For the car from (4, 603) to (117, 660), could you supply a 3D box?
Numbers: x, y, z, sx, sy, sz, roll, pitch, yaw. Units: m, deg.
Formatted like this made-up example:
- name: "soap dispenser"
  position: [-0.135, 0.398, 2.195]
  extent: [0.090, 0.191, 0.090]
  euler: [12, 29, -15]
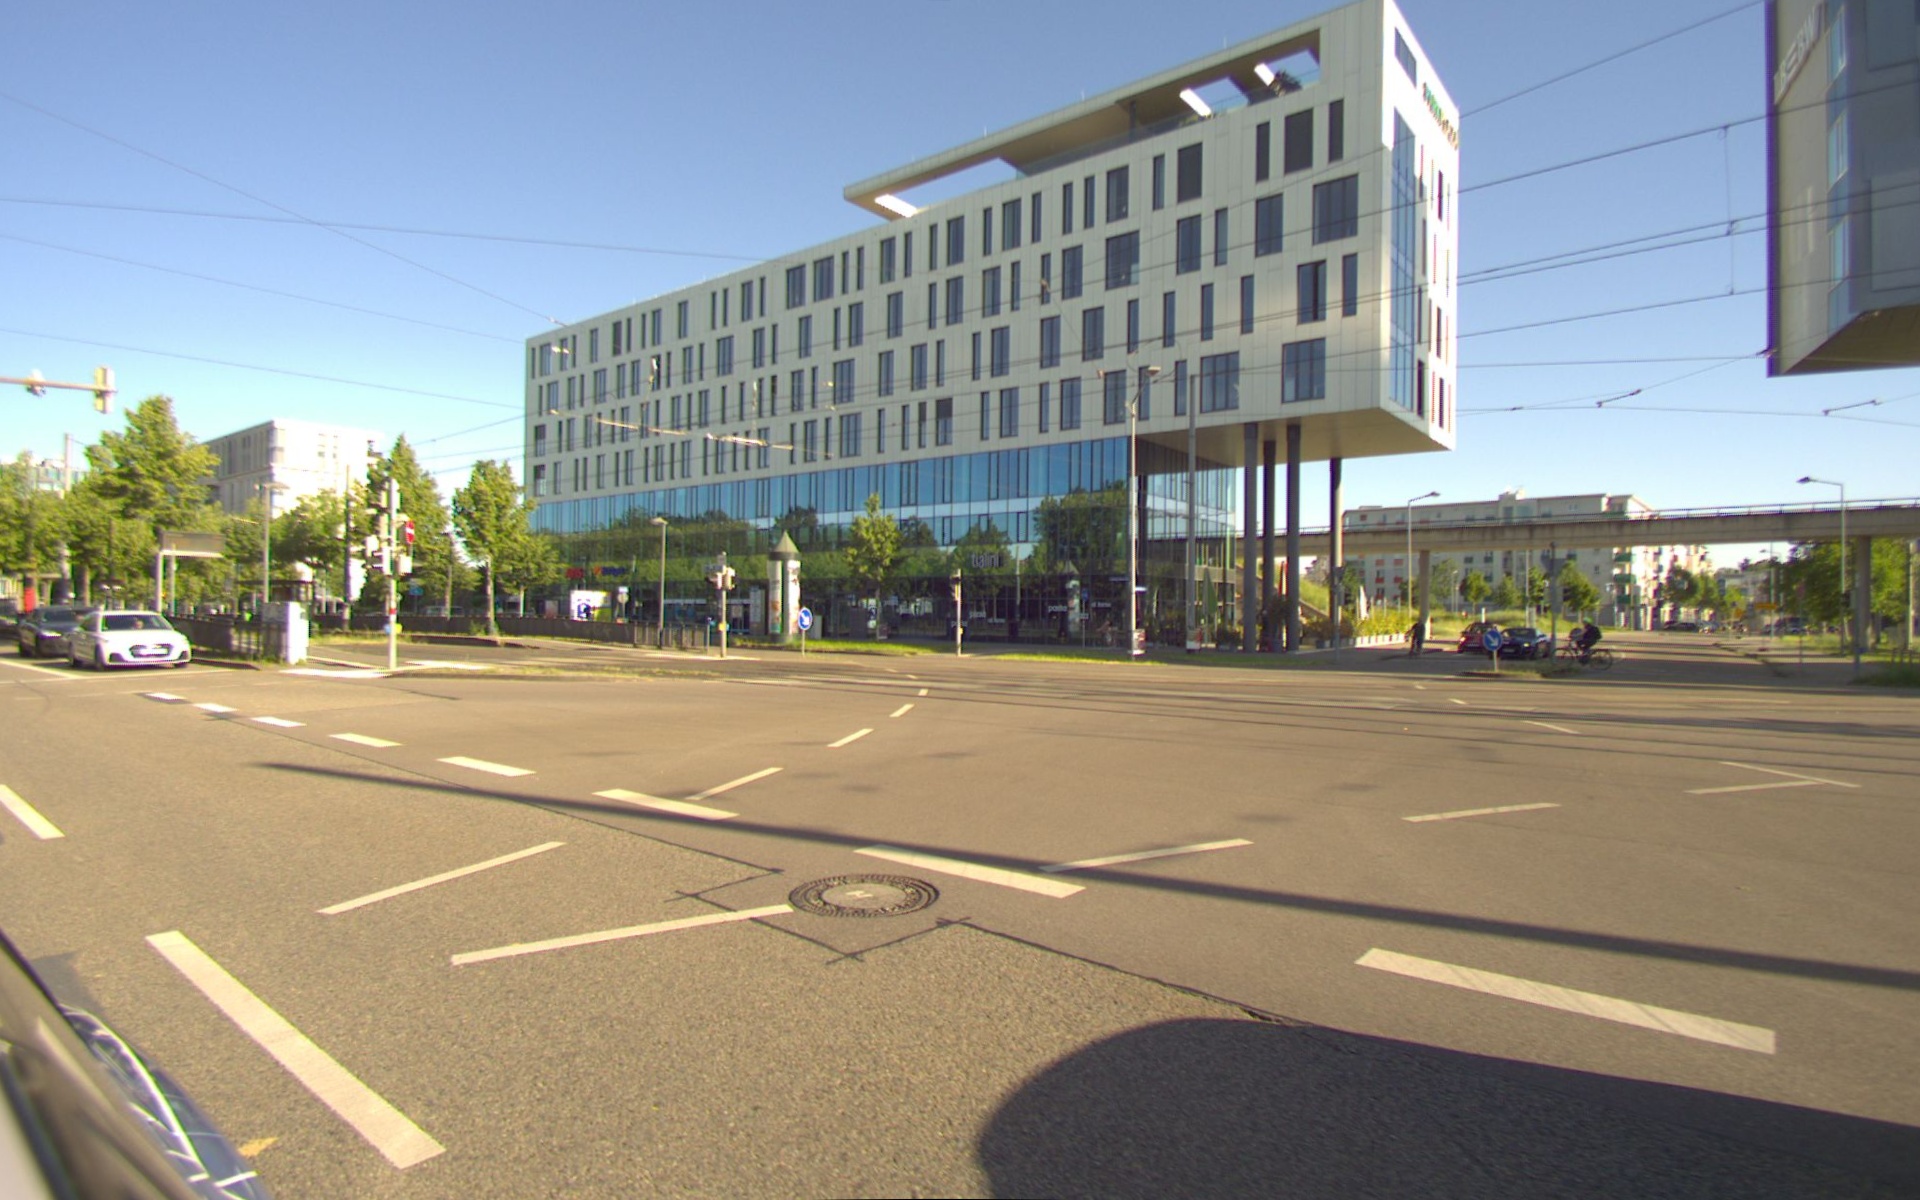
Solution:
- name: "car"
  position: [-26.716, 0.875, 30.020]
  extent: [4.338, 1.538, 1.781]
  euler: [0, 1, 38]

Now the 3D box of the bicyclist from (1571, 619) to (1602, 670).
- name: "bicyclist"
  position: [21.784, 1.542, 35.176]
  extent: [0.837, 1.739, 0.524]
  euler: [-1, -1, 40]

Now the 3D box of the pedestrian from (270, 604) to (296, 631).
- name: "pedestrian"
  position: [-38.341, 0.974, 57.308]
  extent: [0.844, 1.477, 1.054]
  euler: [0, 0, 44]

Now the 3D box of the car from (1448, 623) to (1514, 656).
- name: "car"
  position: [25.921, 1.928, 50.322]
  extent: [2.000, 1.577, 3.944]
  euler: [0, -1, 42]

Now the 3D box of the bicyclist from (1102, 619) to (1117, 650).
- name: "bicyclist"
  position: [6.908, 1.575, 46.713]
  extent: [0.551, 1.434, 0.478]
  euler: [0, -1, 32]

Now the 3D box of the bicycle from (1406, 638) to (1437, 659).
- name: "bicycle"
  position: [20.293, 2.132, 44.474]
  extent: [0.748, 0.869, 1.805]
  euler: [-1, -1, 41]

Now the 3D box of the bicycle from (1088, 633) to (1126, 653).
- name: "bicycle"
  position: [6.781, 1.982, 46.794]
  extent: [1.687, 0.869, 0.478]
  euler: [0, -1, 32]

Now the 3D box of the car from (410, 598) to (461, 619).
- name: "car"
  position: [-39.639, 0.614, 76.470]
  extent: [4.338, 1.538, 1.781]
  euler: [0, 1, 38]

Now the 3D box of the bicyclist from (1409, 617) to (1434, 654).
- name: "bicyclist"
  position: [20.253, 1.553, 44.436]
  extent: [0.750, 1.595, 0.943]
  euler: [-1, -1, 41]

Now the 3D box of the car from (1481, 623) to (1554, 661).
- name: "car"
  position: [24.561, 1.816, 44.556]
  extent: [2.000, 1.577, 3.944]
  euler: [0, -1, 42]

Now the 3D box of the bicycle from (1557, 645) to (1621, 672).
- name: "bicycle"
  position: [21.820, 2.018, 35.137]
  extent: [1.832, 0.869, 0.522]
  euler: [0, -1, 40]

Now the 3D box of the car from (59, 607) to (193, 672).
- name: "car"
  position: [-20.536, 0.907, 24.880]
  extent: [3.999, 1.437, 1.656]
  euler: [0, 1, 37]
